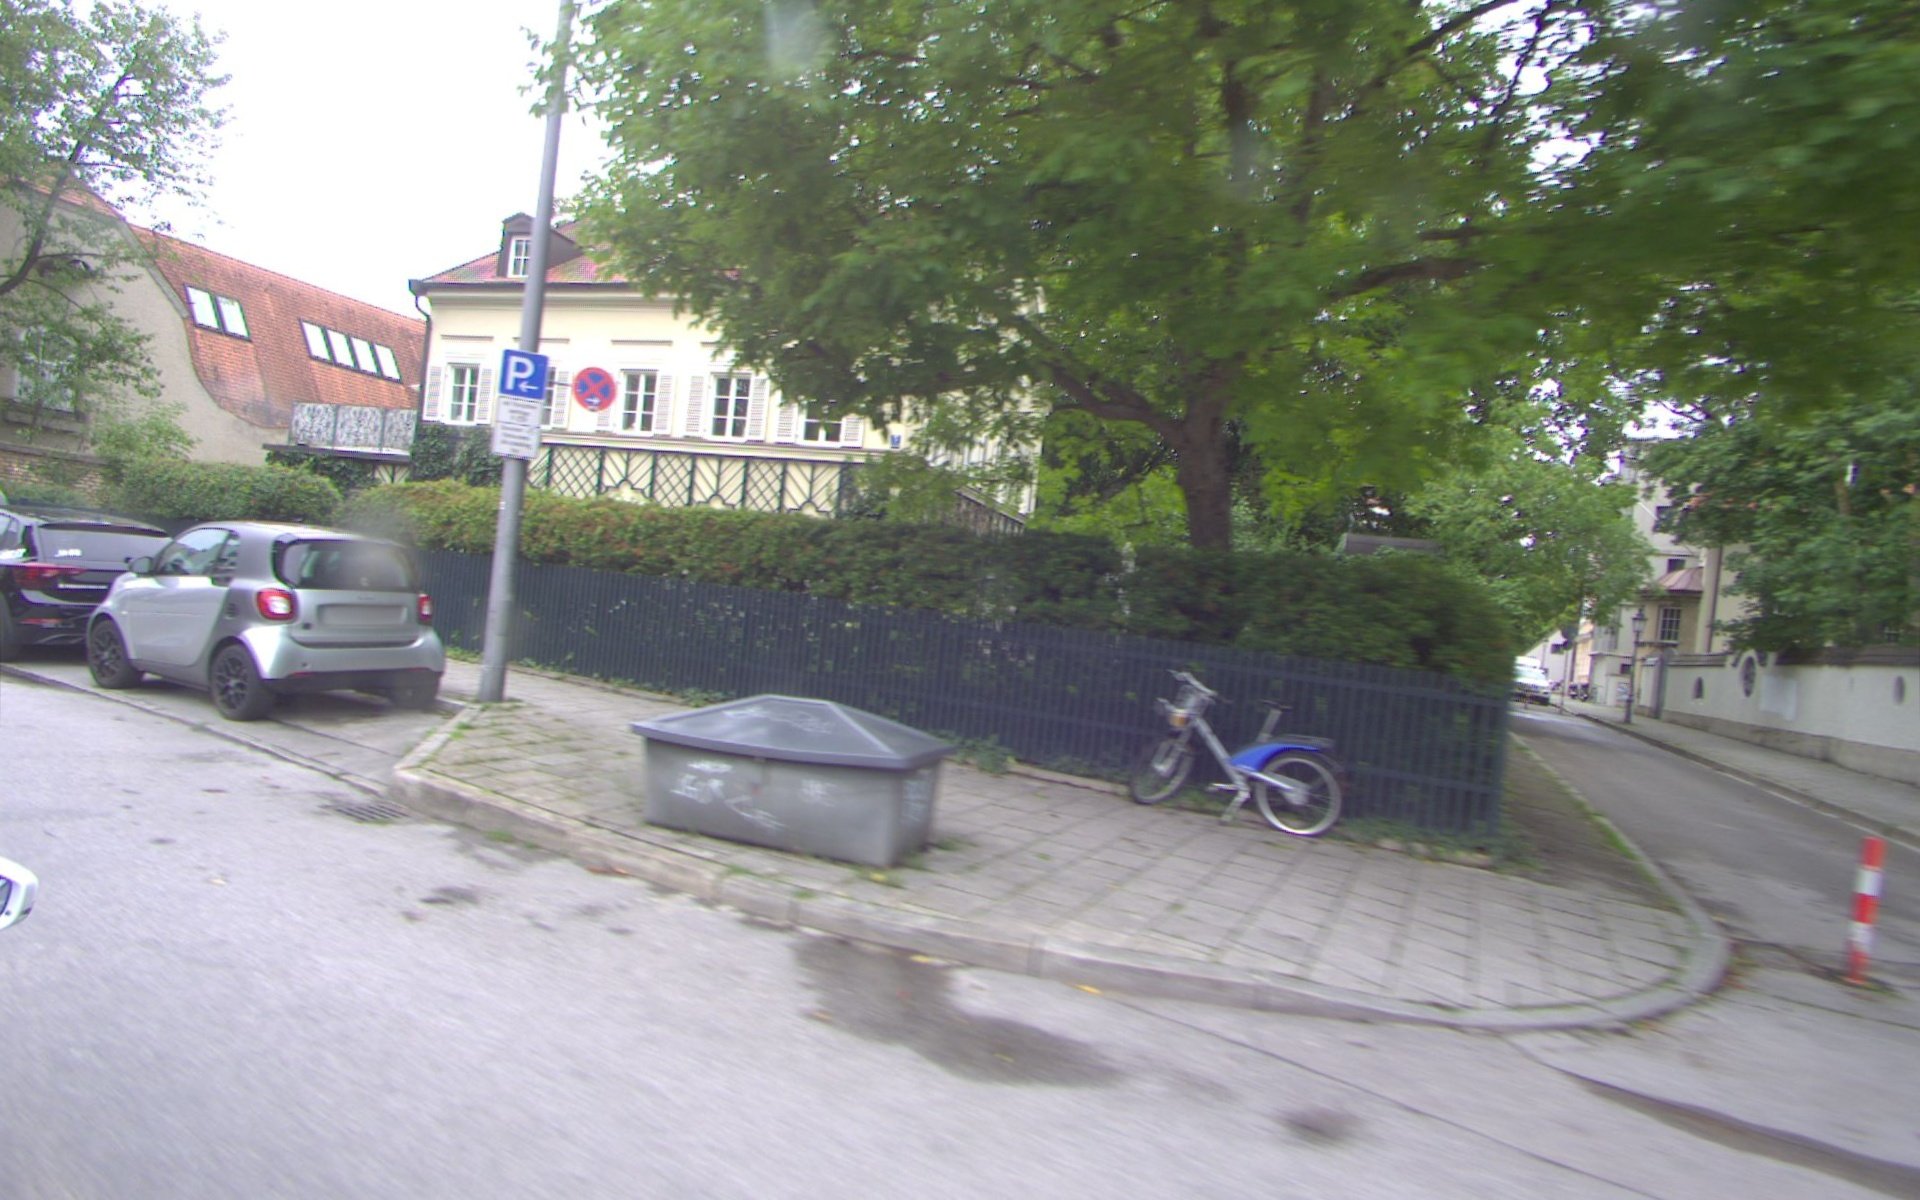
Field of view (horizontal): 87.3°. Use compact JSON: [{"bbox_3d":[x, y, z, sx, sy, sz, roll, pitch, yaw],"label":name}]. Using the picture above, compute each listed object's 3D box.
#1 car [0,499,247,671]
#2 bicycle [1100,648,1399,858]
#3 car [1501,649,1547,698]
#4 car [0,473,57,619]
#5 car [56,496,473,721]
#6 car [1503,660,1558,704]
[{"bbox_3d":[-9.807,-0.279,10.597,4.146,1.446,1.880,7,2,25],"label":"car"},{"bbox_3d":[2.175,1.079,7.607,1.938,1.177,0.807,7,1,27],"label":"bicycle"},{"bbox_3d":[33.652,4.374,60.193,2.009,2.487,7.622,7,0,28],"label":"car"},{"bbox_3d":[-13.858,-0.907,12.605,4.797,1.734,1.997,7,2,25],"label":"car"},{"bbox_3d":[-6.119,0.028,8.897,2.893,1.556,1.742,6,1,25],"label":"car"},{"bbox_3d":[28.420,4.044,50.241,1.896,1.814,4.408,7,0,26],"label":"car"}]
